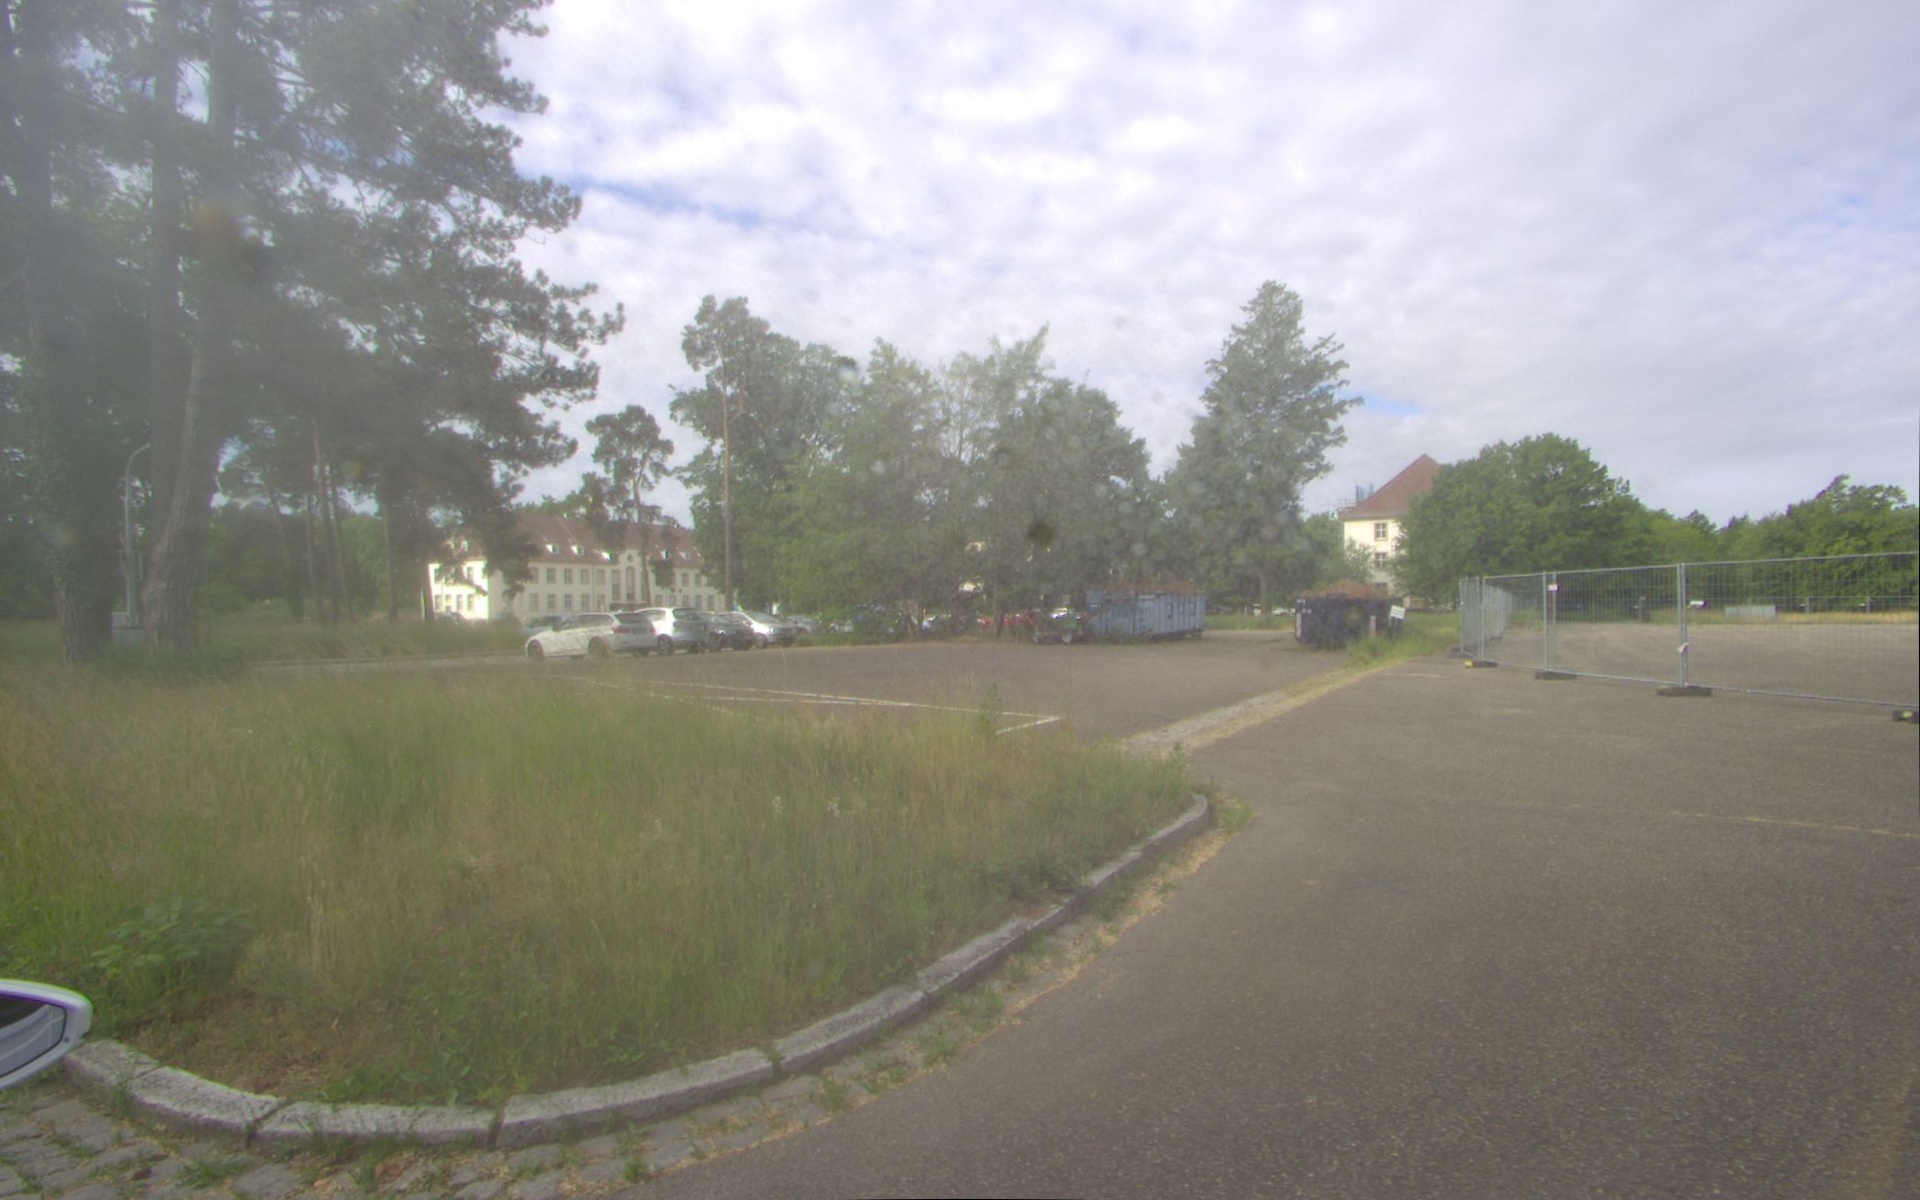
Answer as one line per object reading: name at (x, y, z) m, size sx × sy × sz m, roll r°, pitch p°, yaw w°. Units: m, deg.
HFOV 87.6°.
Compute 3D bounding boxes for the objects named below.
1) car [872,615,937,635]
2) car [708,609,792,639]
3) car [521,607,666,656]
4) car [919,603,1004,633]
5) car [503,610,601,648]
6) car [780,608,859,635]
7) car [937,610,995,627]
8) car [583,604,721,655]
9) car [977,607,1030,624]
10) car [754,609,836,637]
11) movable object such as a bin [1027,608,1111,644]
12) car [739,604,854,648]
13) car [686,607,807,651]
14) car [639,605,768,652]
car at (-3.616, 1.619, 64.814) m, size 3.940 × 1.225 × 1.655 m, roll -1°, pitch 0°, yaw 30°
car at (-11.294, 1.282, 53.802) m, size 4.378 × 1.544 × 1.751 m, roll -1°, pitch 0°, yaw 28°
car at (-11.386, 0.979, 31.071) m, size 4.379 × 1.434 × 1.751 m, roll -1°, pitch 0°, yaw 28°
car at (0.087, 1.000, 55.777) m, size 4.378 × 1.598 × 1.865 m, roll -1°, pitch 0°, yaw 28°
car at (-17.693, 1.223, 43.383) m, size 4.384 × 1.544 × 1.748 m, roll -1°, pitch 0°, yaw 33°
car at (-8.256, 1.267, 58.834) m, size 4.378 × 1.544 × 1.751 m, roll -1°, pitch 0°, yaw 28°
car at (0.419, 1.332, 73.198) m, size 3.933 × 1.225 × 1.658 m, roll -1°, pitch 0°, yaw 23°
car at (-10.300, 0.952, 33.432) m, size 4.378 × 1.598 × 1.865 m, roll -1°, pitch 0°, yaw 28°
car at (3.495, 1.254, 80.173) m, size 3.935 × 1.373 × 1.657 m, roll -1°, pitch 0°, yaw 26°
car at (-9.266, 1.281, 56.070) m, size 4.378 × 1.544 × 1.751 m, roll -1°, pitch 0°, yaw 28°
movable object such as a bin at (3.529, 0.825, 32.443) m, size 2.504 × 1.098 × 1.060 m, roll 1°, pitch 1°, yaw 30°
car at (-6.655, 1.027, 40.607) m, size 4.378 × 1.708 × 1.865 m, roll -1°, pitch 0°, yaw 28°
car at (-8.202, 1.080, 38.431) m, size 4.378 × 1.598 × 1.865 m, roll -1°, pitch 0°, yaw 28°
car at (-9.205, 1.006, 35.892) m, size 4.378 × 1.598 × 1.865 m, roll -1°, pitch 0°, yaw 28°
